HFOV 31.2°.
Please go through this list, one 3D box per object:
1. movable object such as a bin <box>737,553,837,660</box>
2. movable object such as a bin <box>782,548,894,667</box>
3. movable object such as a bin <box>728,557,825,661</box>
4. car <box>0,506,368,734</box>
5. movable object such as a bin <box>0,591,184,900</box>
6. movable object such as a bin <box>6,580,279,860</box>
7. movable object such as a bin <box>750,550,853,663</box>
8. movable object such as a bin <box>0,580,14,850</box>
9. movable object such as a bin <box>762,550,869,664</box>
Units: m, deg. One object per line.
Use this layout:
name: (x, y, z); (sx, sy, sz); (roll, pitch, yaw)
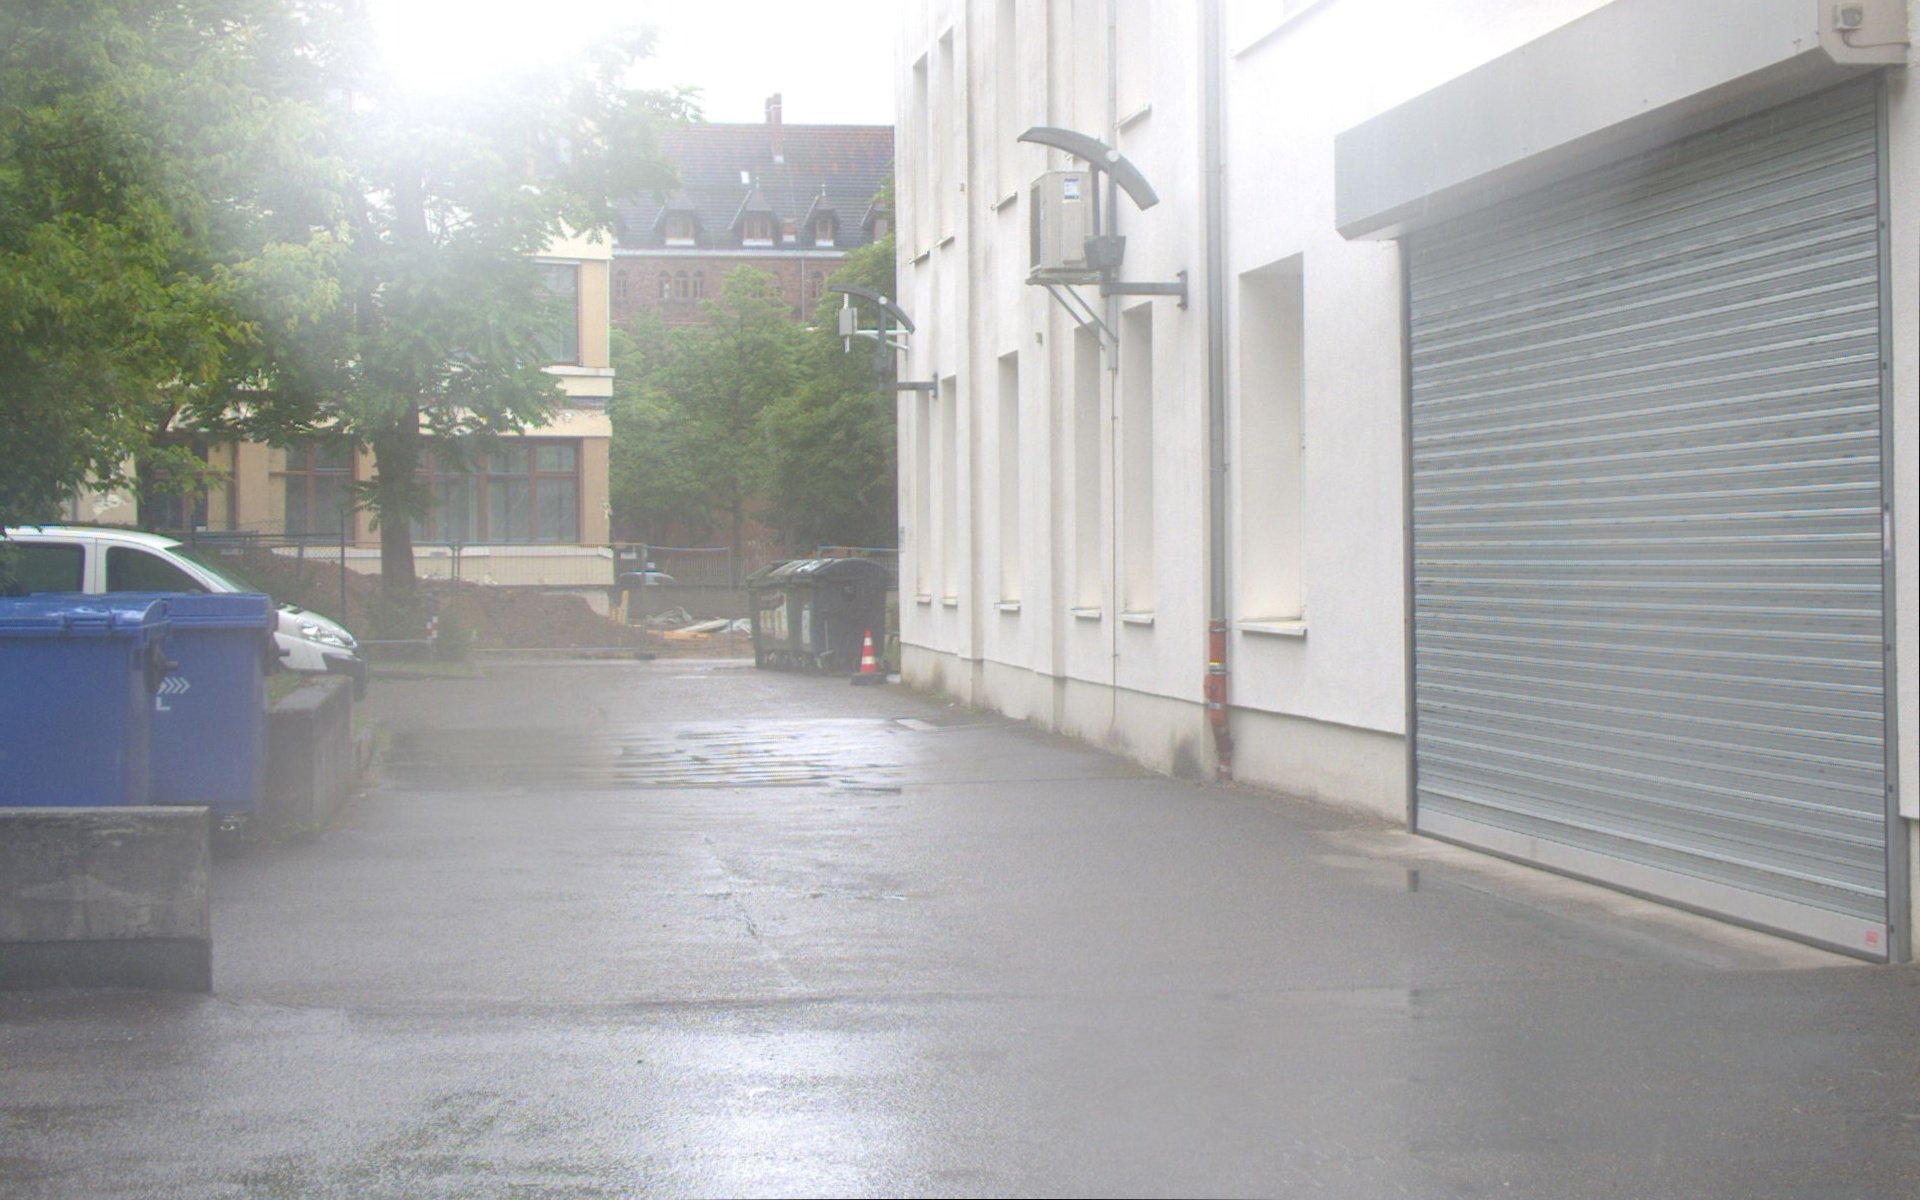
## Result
movable object such as a bin: (-2.378, 0.096, 47.177); (1.214, 1.432, 1.259); (0, -2, -10)
movable object such as a bin: (-1.515, 0.099, 42.456); (1.214, 1.432, 1.236); (0, -2, -10)
movable object such as a bin: (-2.596, 0.132, 48.539); (1.214, 1.432, 1.259); (0, -2, -10)
car: (-8.050, 0.173, 32.262); (4.779, 2.007, 2.001); (-1, 1, -7)
movable object such as a bin: (-4.205, 0.632, 15.490); (1.202, 1.332, 1.117); (-1, 0, -3)
movable object such as a bin: (-4.079, 0.580, 17.260); (1.221, 1.332, 1.007); (-1, 1, -7)
movable object such as a bin: (-2.120, 0.096, 45.823); (1.214, 1.463, 1.236); (0, -2, -10)
movable object such as a bin: (-5.377, 0.585, 16.966); (1.221, 1.332, 1.007); (-1, 2, -7)
movable object such as a bin: (-1.870, 0.095, 44.212); (1.214, 1.432, 1.294); (0, -2, -10)
